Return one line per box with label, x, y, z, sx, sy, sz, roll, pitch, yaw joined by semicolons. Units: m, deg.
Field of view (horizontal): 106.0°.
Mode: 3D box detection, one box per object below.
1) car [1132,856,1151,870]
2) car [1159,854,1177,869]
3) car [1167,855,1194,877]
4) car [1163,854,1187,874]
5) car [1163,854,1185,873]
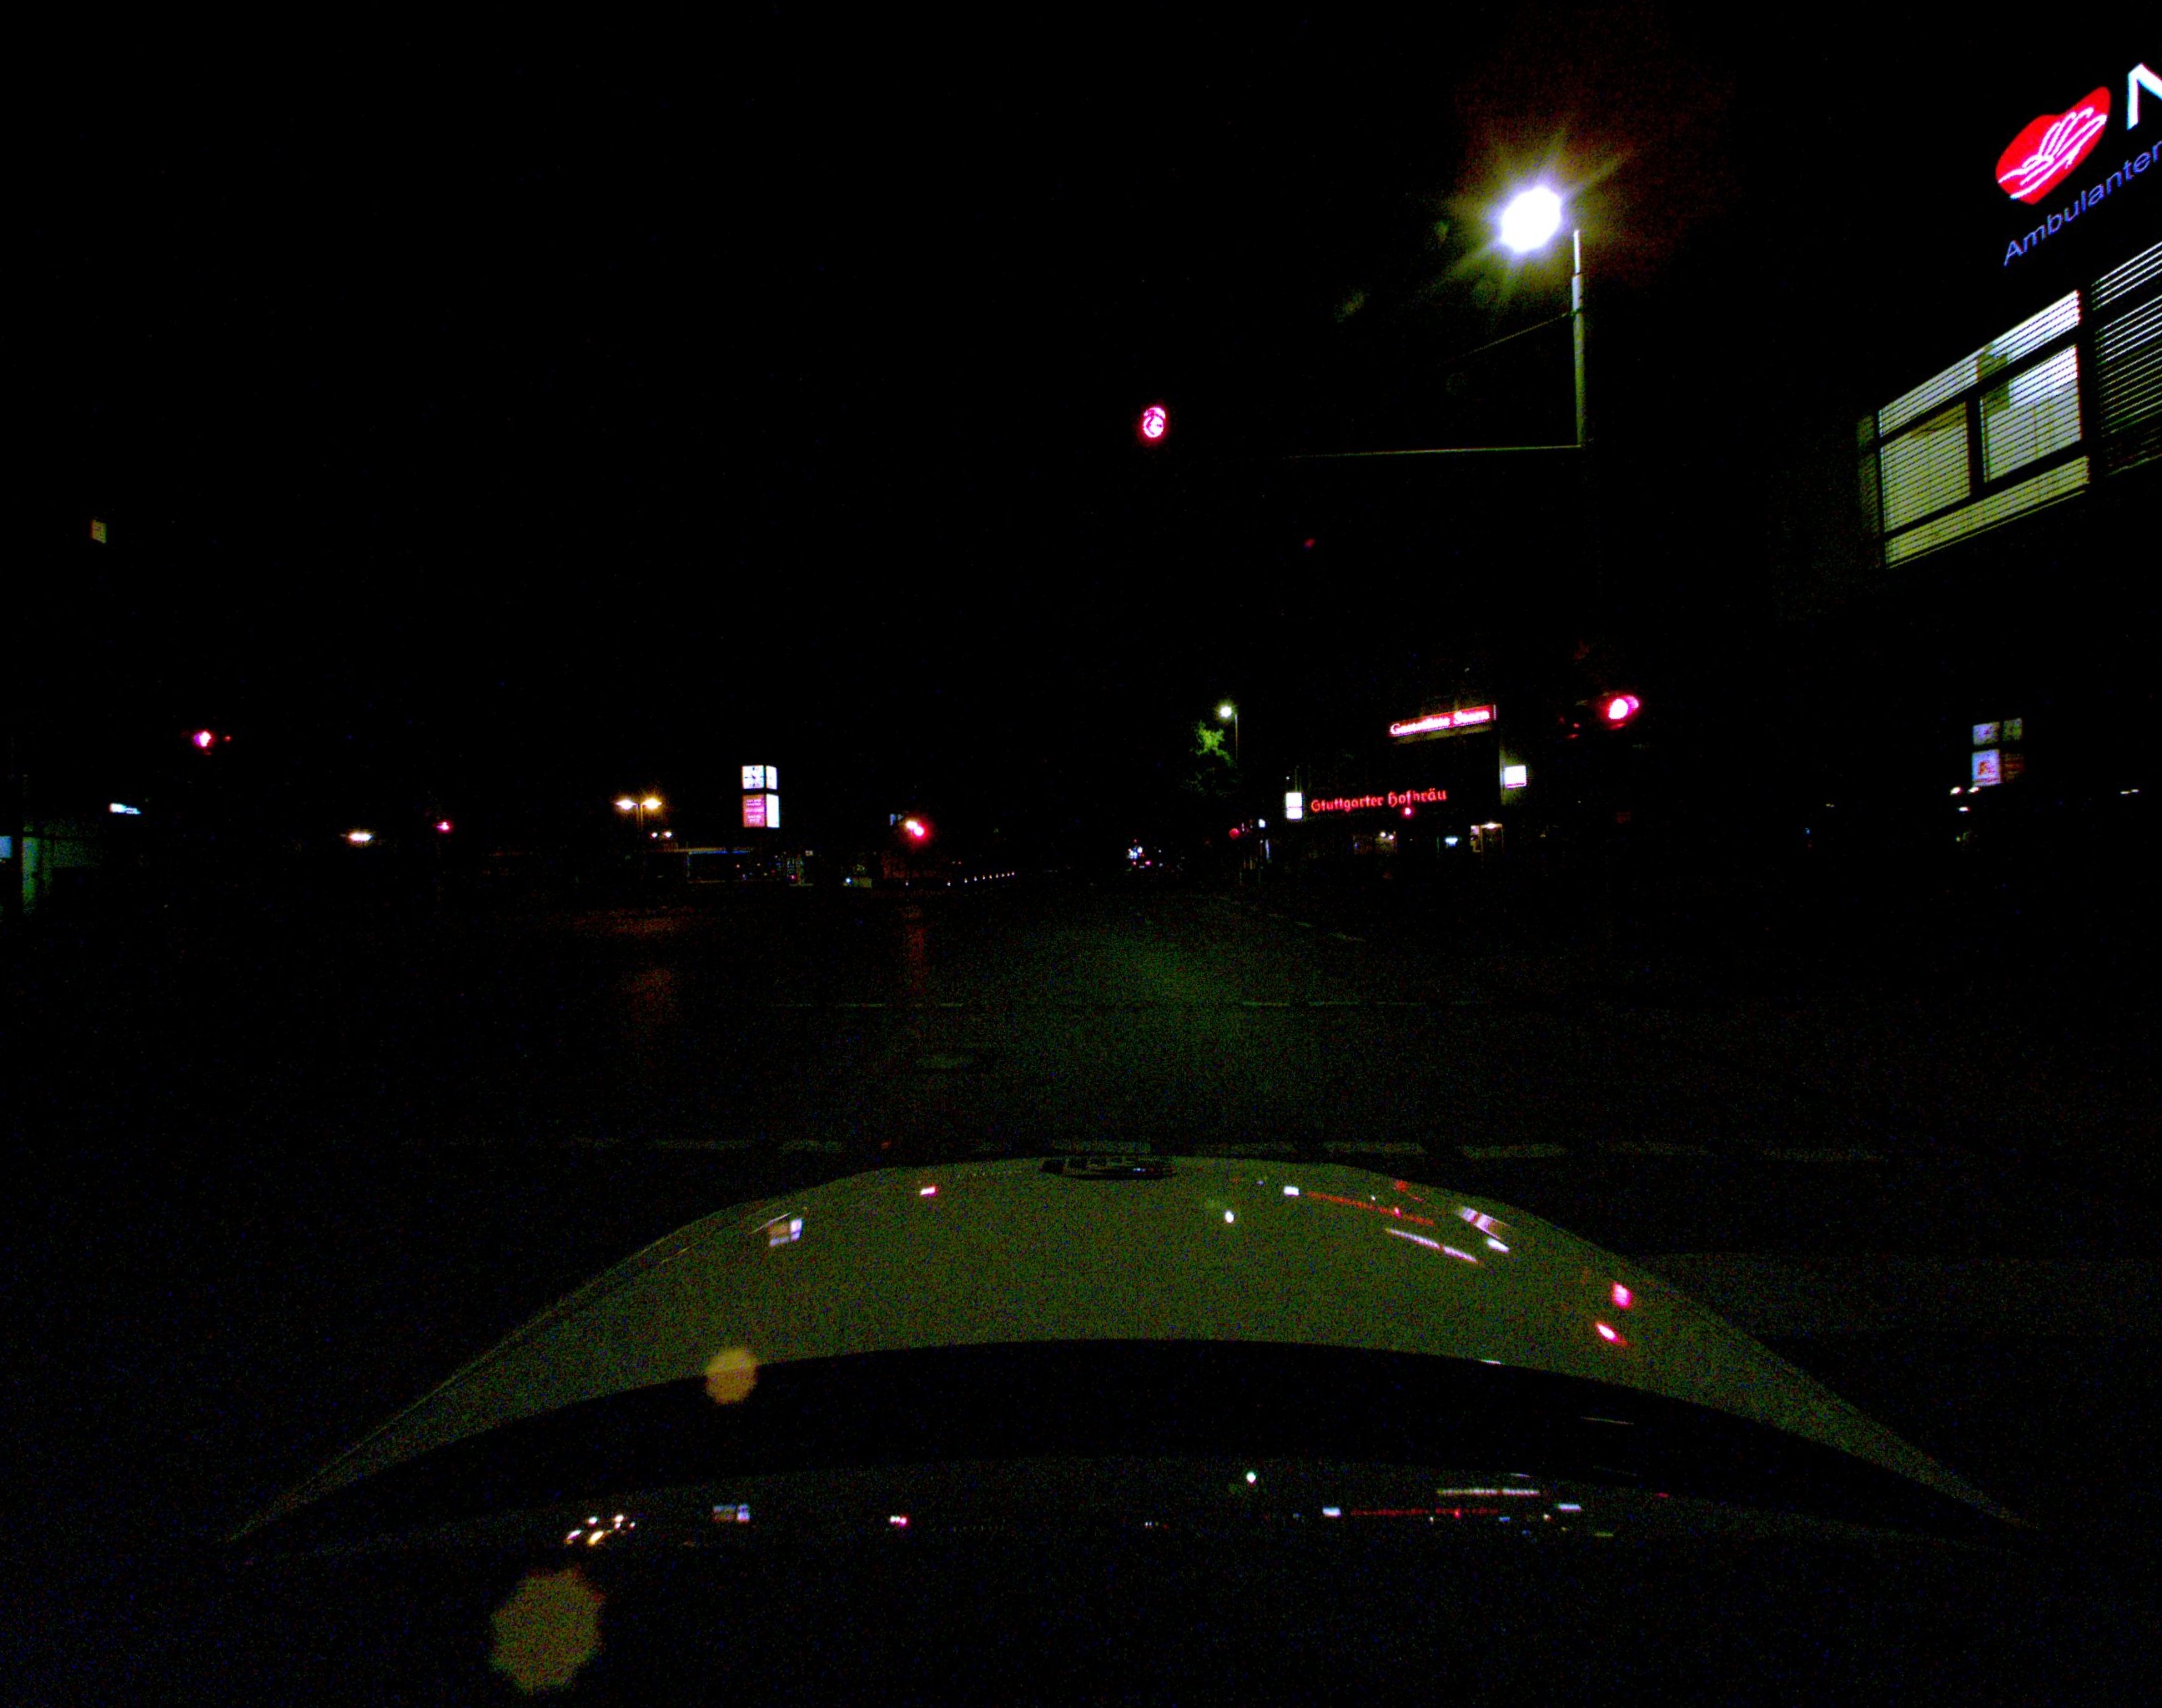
car;6.239;0.917;83.796;1.865;1.454;4.322;0;-1;5
car;10.051;0.897;94.444;1.868;1.683;4.005;-2;-1;5
car;7.705;0.915;63.519;1.868;1.615;4.005;-2;-1;5
car;7.885;0.836;68.778;1.868;1.615;4.005;-2;-1;5
car;8.680;0.883;76.434;1.868;1.729;4.005;-2;-1;5
